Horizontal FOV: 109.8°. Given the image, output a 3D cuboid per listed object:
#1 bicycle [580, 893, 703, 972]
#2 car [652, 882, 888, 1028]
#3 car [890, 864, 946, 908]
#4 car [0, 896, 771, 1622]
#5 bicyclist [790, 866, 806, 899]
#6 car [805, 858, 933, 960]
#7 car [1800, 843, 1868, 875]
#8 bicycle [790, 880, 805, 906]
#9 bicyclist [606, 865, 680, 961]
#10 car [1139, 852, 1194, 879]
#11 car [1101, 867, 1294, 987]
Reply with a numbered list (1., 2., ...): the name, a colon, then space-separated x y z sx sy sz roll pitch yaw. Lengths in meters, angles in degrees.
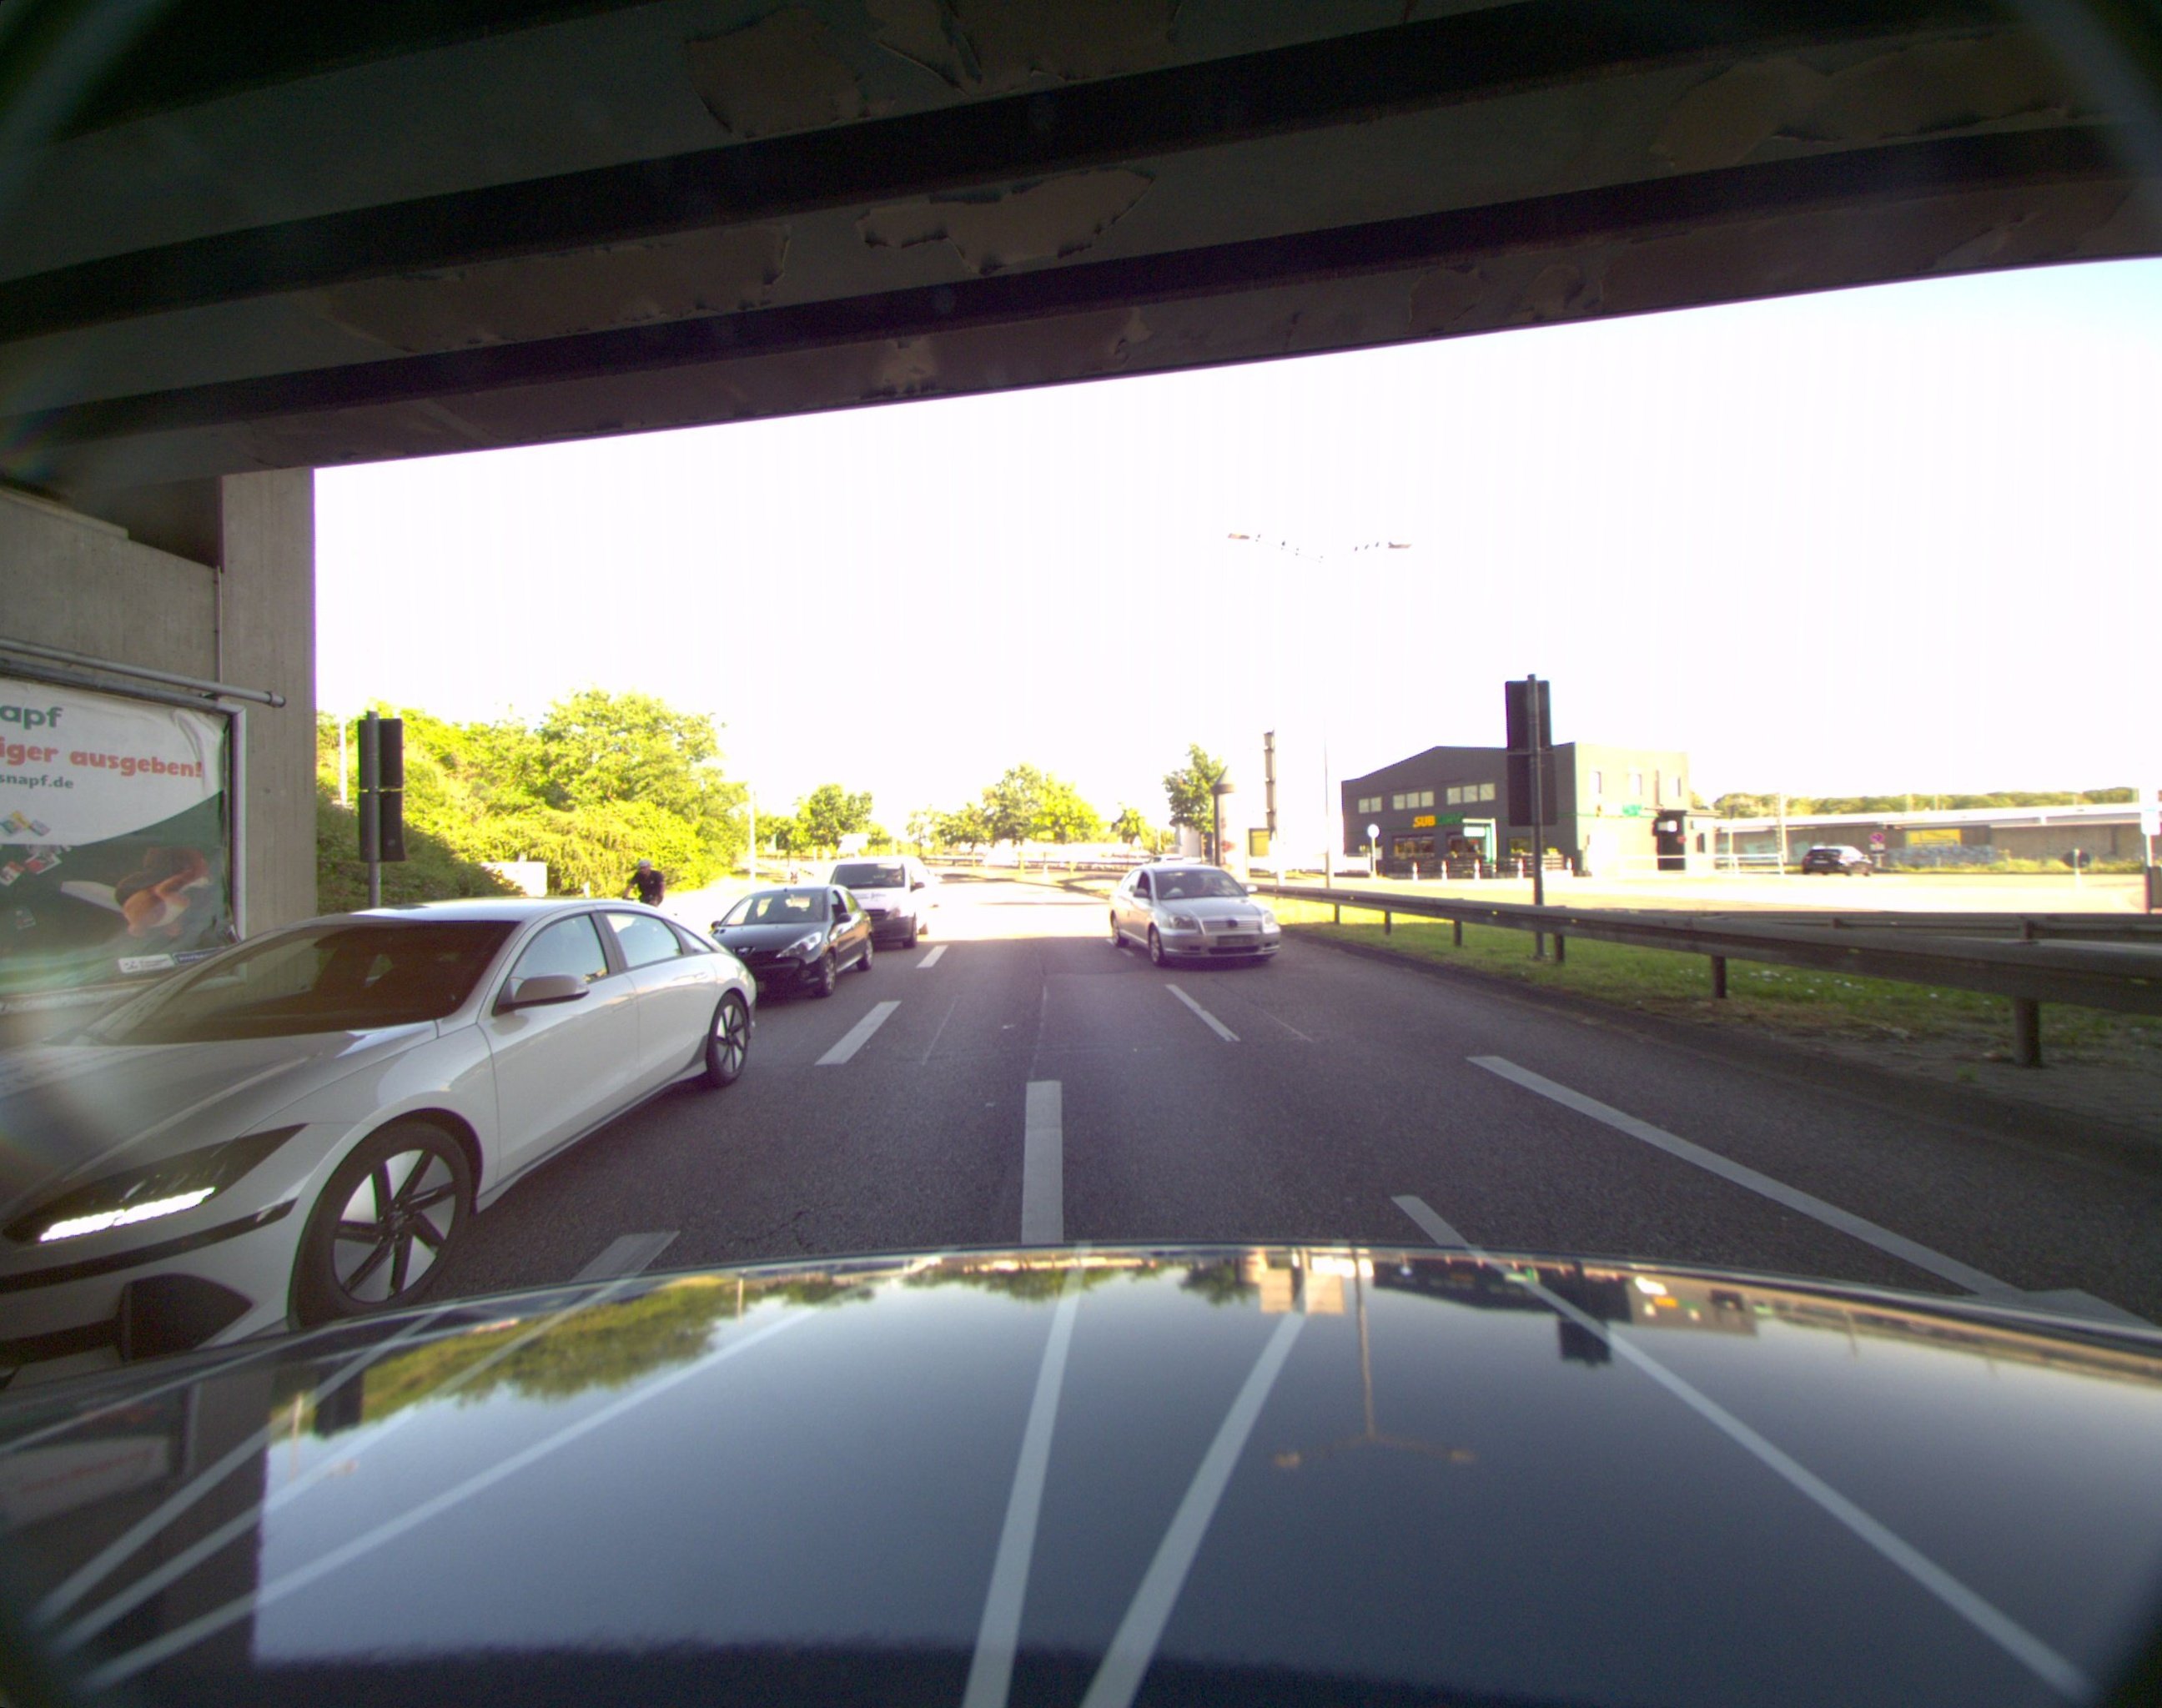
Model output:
1. bicycle: -7.934 1.373 13.902 0.767 1.139 2.469 -2 1 0
2. car: -3.980 1.208 10.437 1.750 1.447 3.716 -2 0 -2
3. car: -6.657 1.268 31.481 2.000 1.542 4.417 -2 0 -9
4. car: -3.427 1.107 4.061 1.750 1.447 4.663 -2 0 -2
5. bicyclist: -13.194 1.306 35.398 0.655 1.524 0.845 1 -1 -21
6. car: -4.420 1.065 16.624 1.903 1.825 4.833 -2 -1 -7
7. car: 38.331 0.245 38.674 4.007 1.434 1.878 -3 1 -37
8. bicycle: -13.203 1.799 35.372 0.654 1.160 1.775 1 -1 -21
9. bicyclist: -7.945 1.048 13.826 0.748 1.646 0.886 -2 1 0
10. car: 5.388 0.736 48.649 1.807 1.597 4.289 -2 0 -19
11. car: 1.631 1.001 12.300 1.702 1.446 4.394 -3 0 -10
